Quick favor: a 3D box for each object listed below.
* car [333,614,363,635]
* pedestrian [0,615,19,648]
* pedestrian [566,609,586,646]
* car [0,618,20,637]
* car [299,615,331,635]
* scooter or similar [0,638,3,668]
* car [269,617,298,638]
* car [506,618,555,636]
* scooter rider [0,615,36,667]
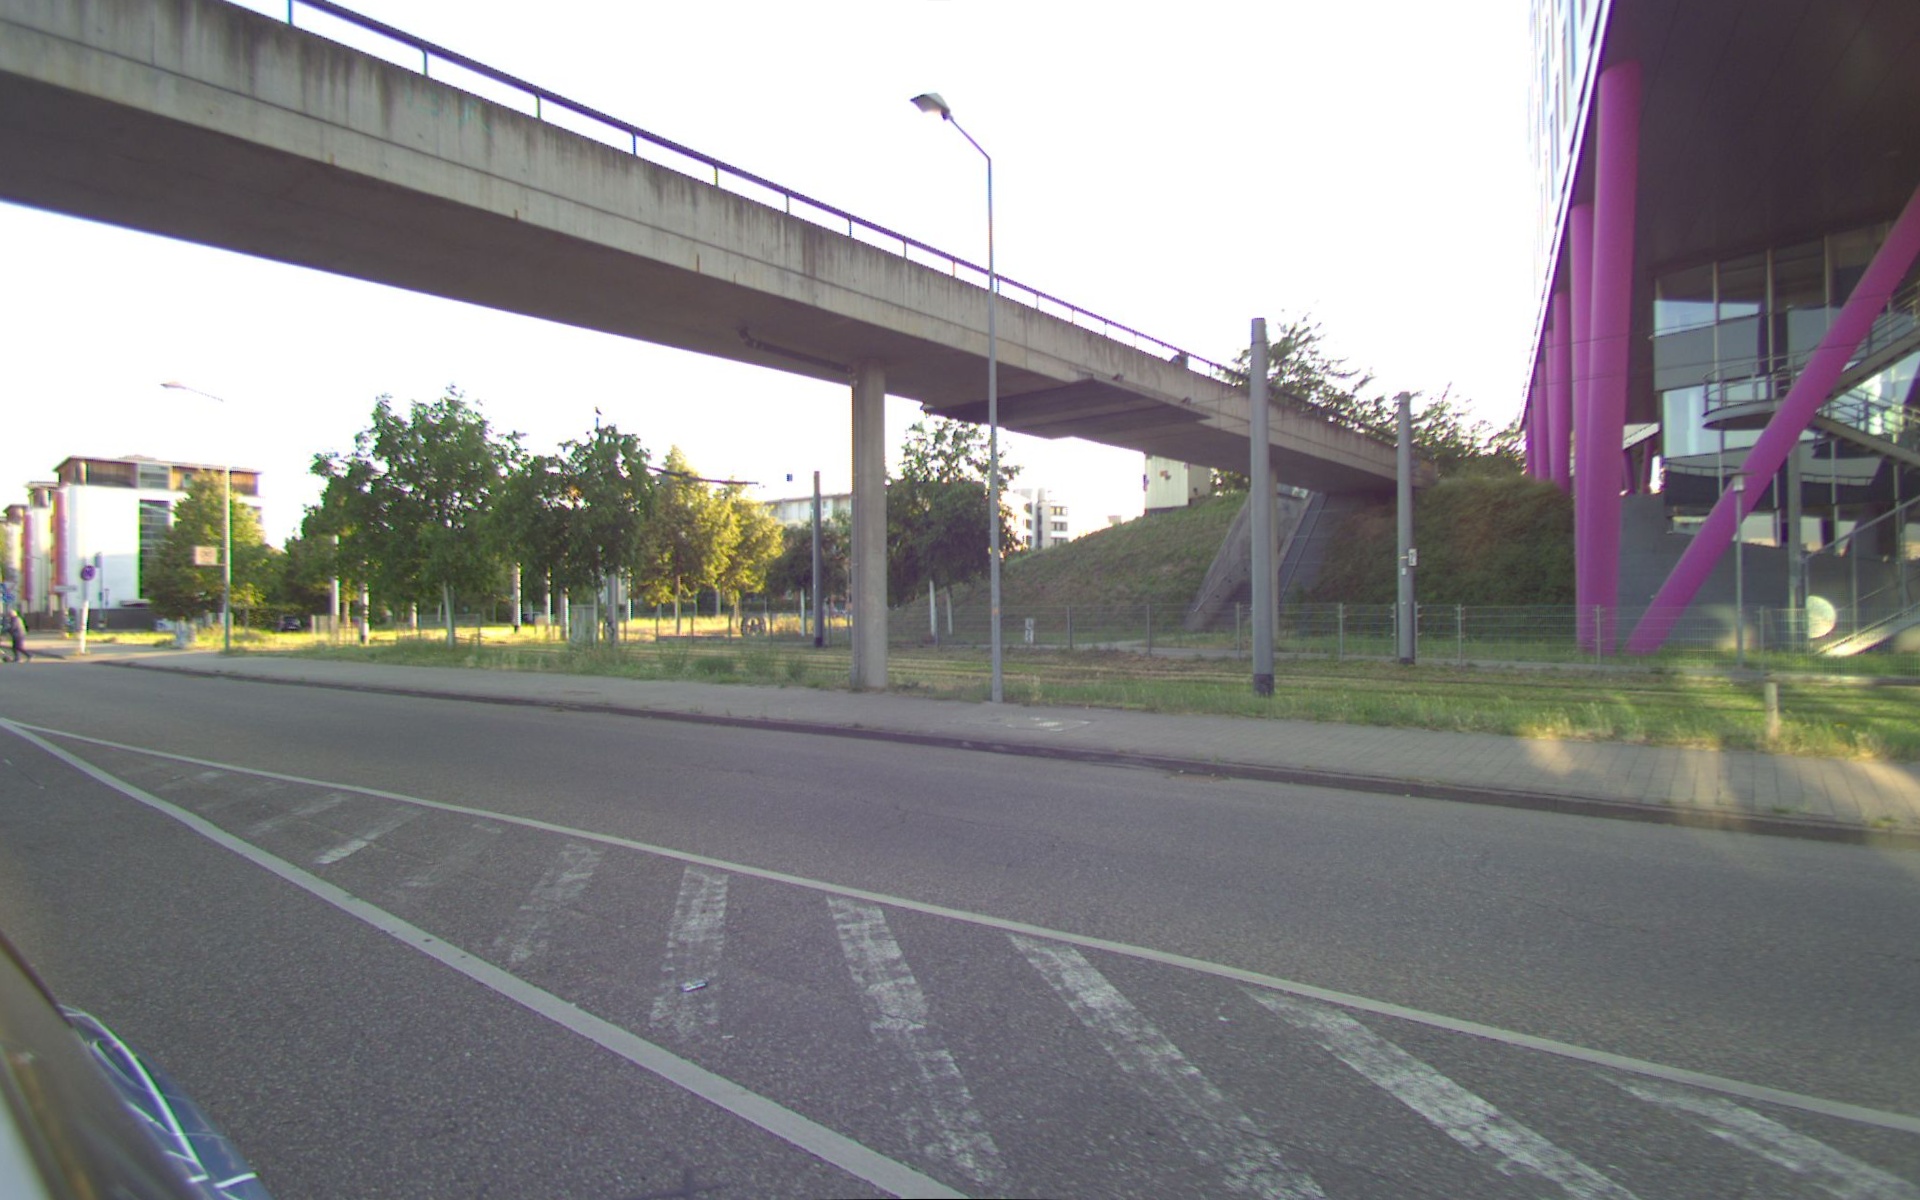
[{"bbox_3d":[-54.402,2.162,89.888,1.842,1.734,3.853,0,-1,-38],"label":"car"},{"bbox_3d":[-58.808,1.929,62.169,1.072,2.029,1.143,0,0,-20],"label":"pedestrian"},{"bbox_3d":[-17.487,1.248,46.050,0.767,1.623,0.417,0,-1,-38],"label":"pedestrian"},{"bbox_3d":[-81.608,2.318,84.593,1.839,1.571,4.330,0,0,42],"label":"car"},{"bbox_3d":[-56.207,2.171,88.169,1.843,1.734,3.851,0,-1,-40],"label":"car"},{"bbox_3d":[-30.035,1.654,31.306,0.544,0.902,0.724,1,-1,-36],"label":"scooter or similar"},{"bbox_3d":[-57.965,2.353,86.646,1.842,1.734,3.853,0,-1,-37],"label":"car"},{"bbox_3d":[-39.760,2.489,93.718,3.932,1.575,2.006,0,-1,-32],"label":"car"},{"bbox_3d":[-29.545,1.284,31.661,0.884,1.589,0.713,0,-1,-37],"label":"scooter rider"}]
